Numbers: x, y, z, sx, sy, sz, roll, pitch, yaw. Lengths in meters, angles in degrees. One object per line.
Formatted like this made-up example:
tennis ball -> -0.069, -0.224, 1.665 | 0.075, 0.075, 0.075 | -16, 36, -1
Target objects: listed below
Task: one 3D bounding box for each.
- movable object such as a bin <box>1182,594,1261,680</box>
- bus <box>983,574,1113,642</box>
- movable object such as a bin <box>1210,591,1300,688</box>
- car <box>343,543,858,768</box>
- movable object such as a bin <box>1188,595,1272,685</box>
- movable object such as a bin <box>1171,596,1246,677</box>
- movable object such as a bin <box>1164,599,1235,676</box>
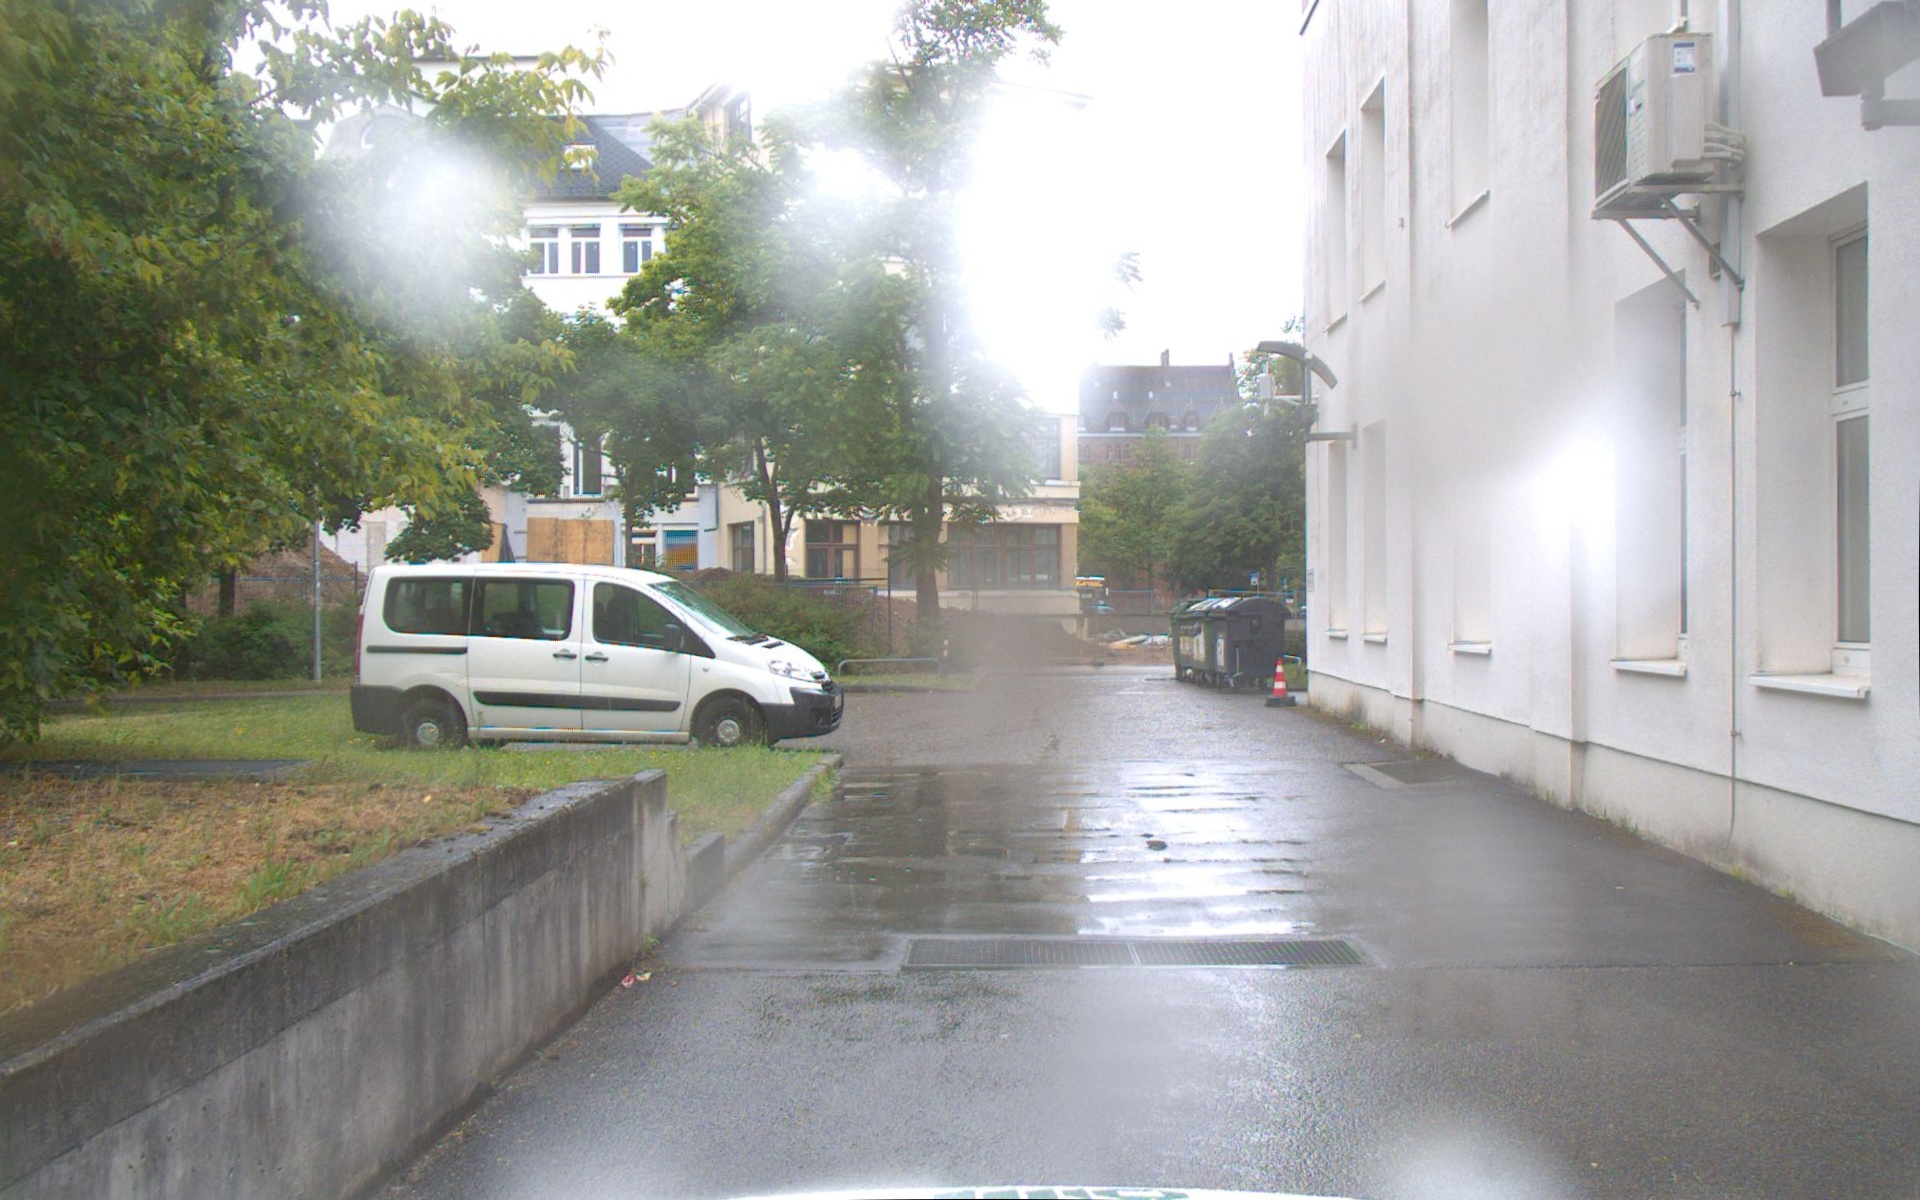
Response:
movable object such as a bin -> 4.579, 0.661, 29.081 | 1.190, 1.494, 1.235 | 0, -2, 0
bus -> 5.412, 0.640, 105.342 | 2.773, 3.942, 11.949 | 1, -3, -27
movable object such as a bin -> 4.577, 0.623, 25.754 | 1.190, 1.462, 1.235 | 0, -2, 0
car -> -3.497, 0.528, 16.738 | 4.680, 2.049, 2.001 | -1, 0, 3
movable object such as a bin -> 4.458, 0.670, 27.450 | 1.189, 1.462, 1.294 | 0, -2, 0
movable object such as a bin -> 4.566, 0.679, 30.459 | 1.189, 1.462, 1.259 | 0, -2, 0
movable object such as a bin -> 4.592, 0.734, 31.837 | 1.189, 1.462, 1.259 | 0, -2, 0
